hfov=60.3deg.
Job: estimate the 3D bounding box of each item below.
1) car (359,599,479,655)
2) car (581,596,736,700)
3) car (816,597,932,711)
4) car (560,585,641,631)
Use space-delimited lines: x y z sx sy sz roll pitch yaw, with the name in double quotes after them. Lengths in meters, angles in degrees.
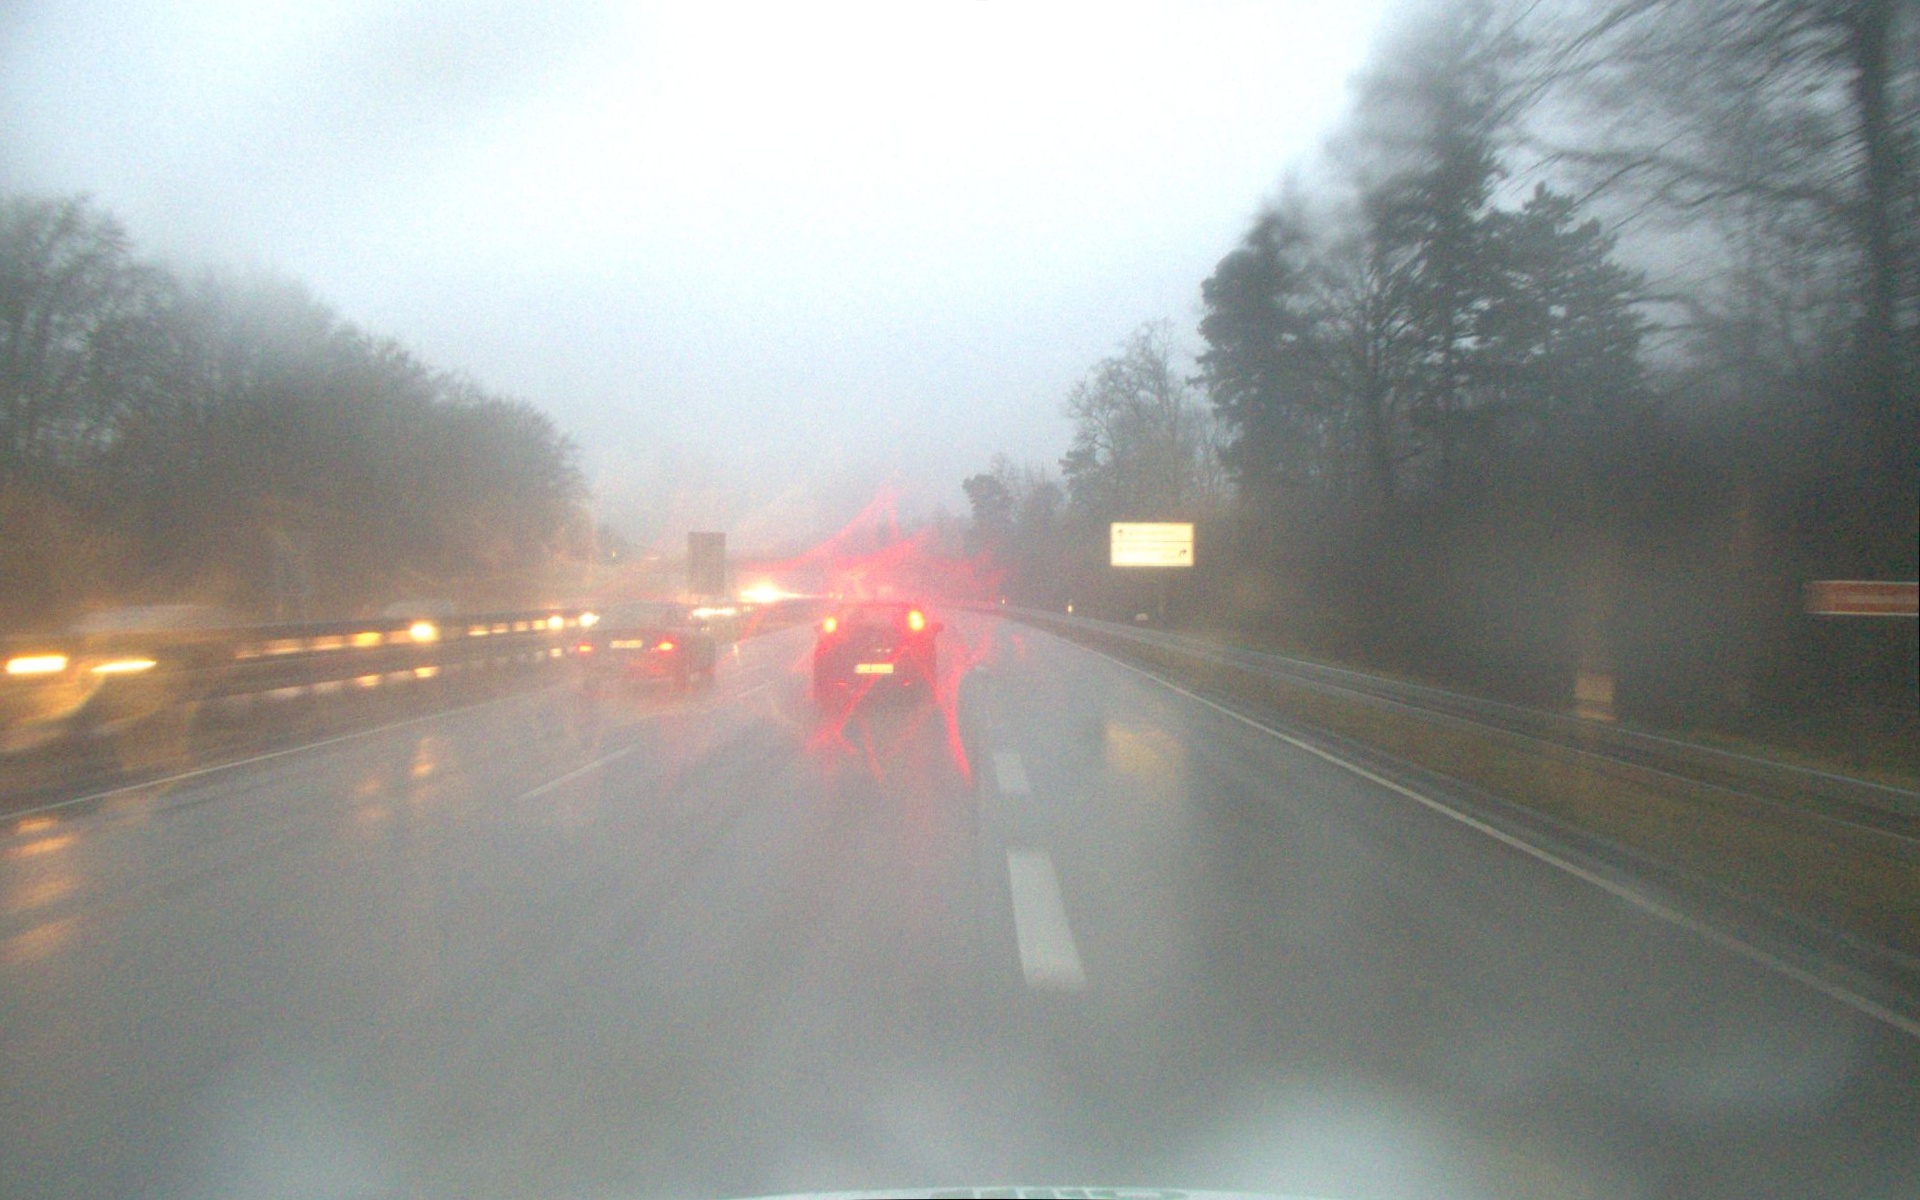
-14.888 0.702 45.768 1.857 1.383 4.208 2 0 1 "car"
-5.008 0.747 28.082 1.739 1.561 4.702 -2 0 0 "car"
-1.182 0.714 23.771 1.496 1.440 3.478 2 0 -1 "car"
-14.922 0.317 68.858 1.952 1.784 4.901 2 0 4 "car"
